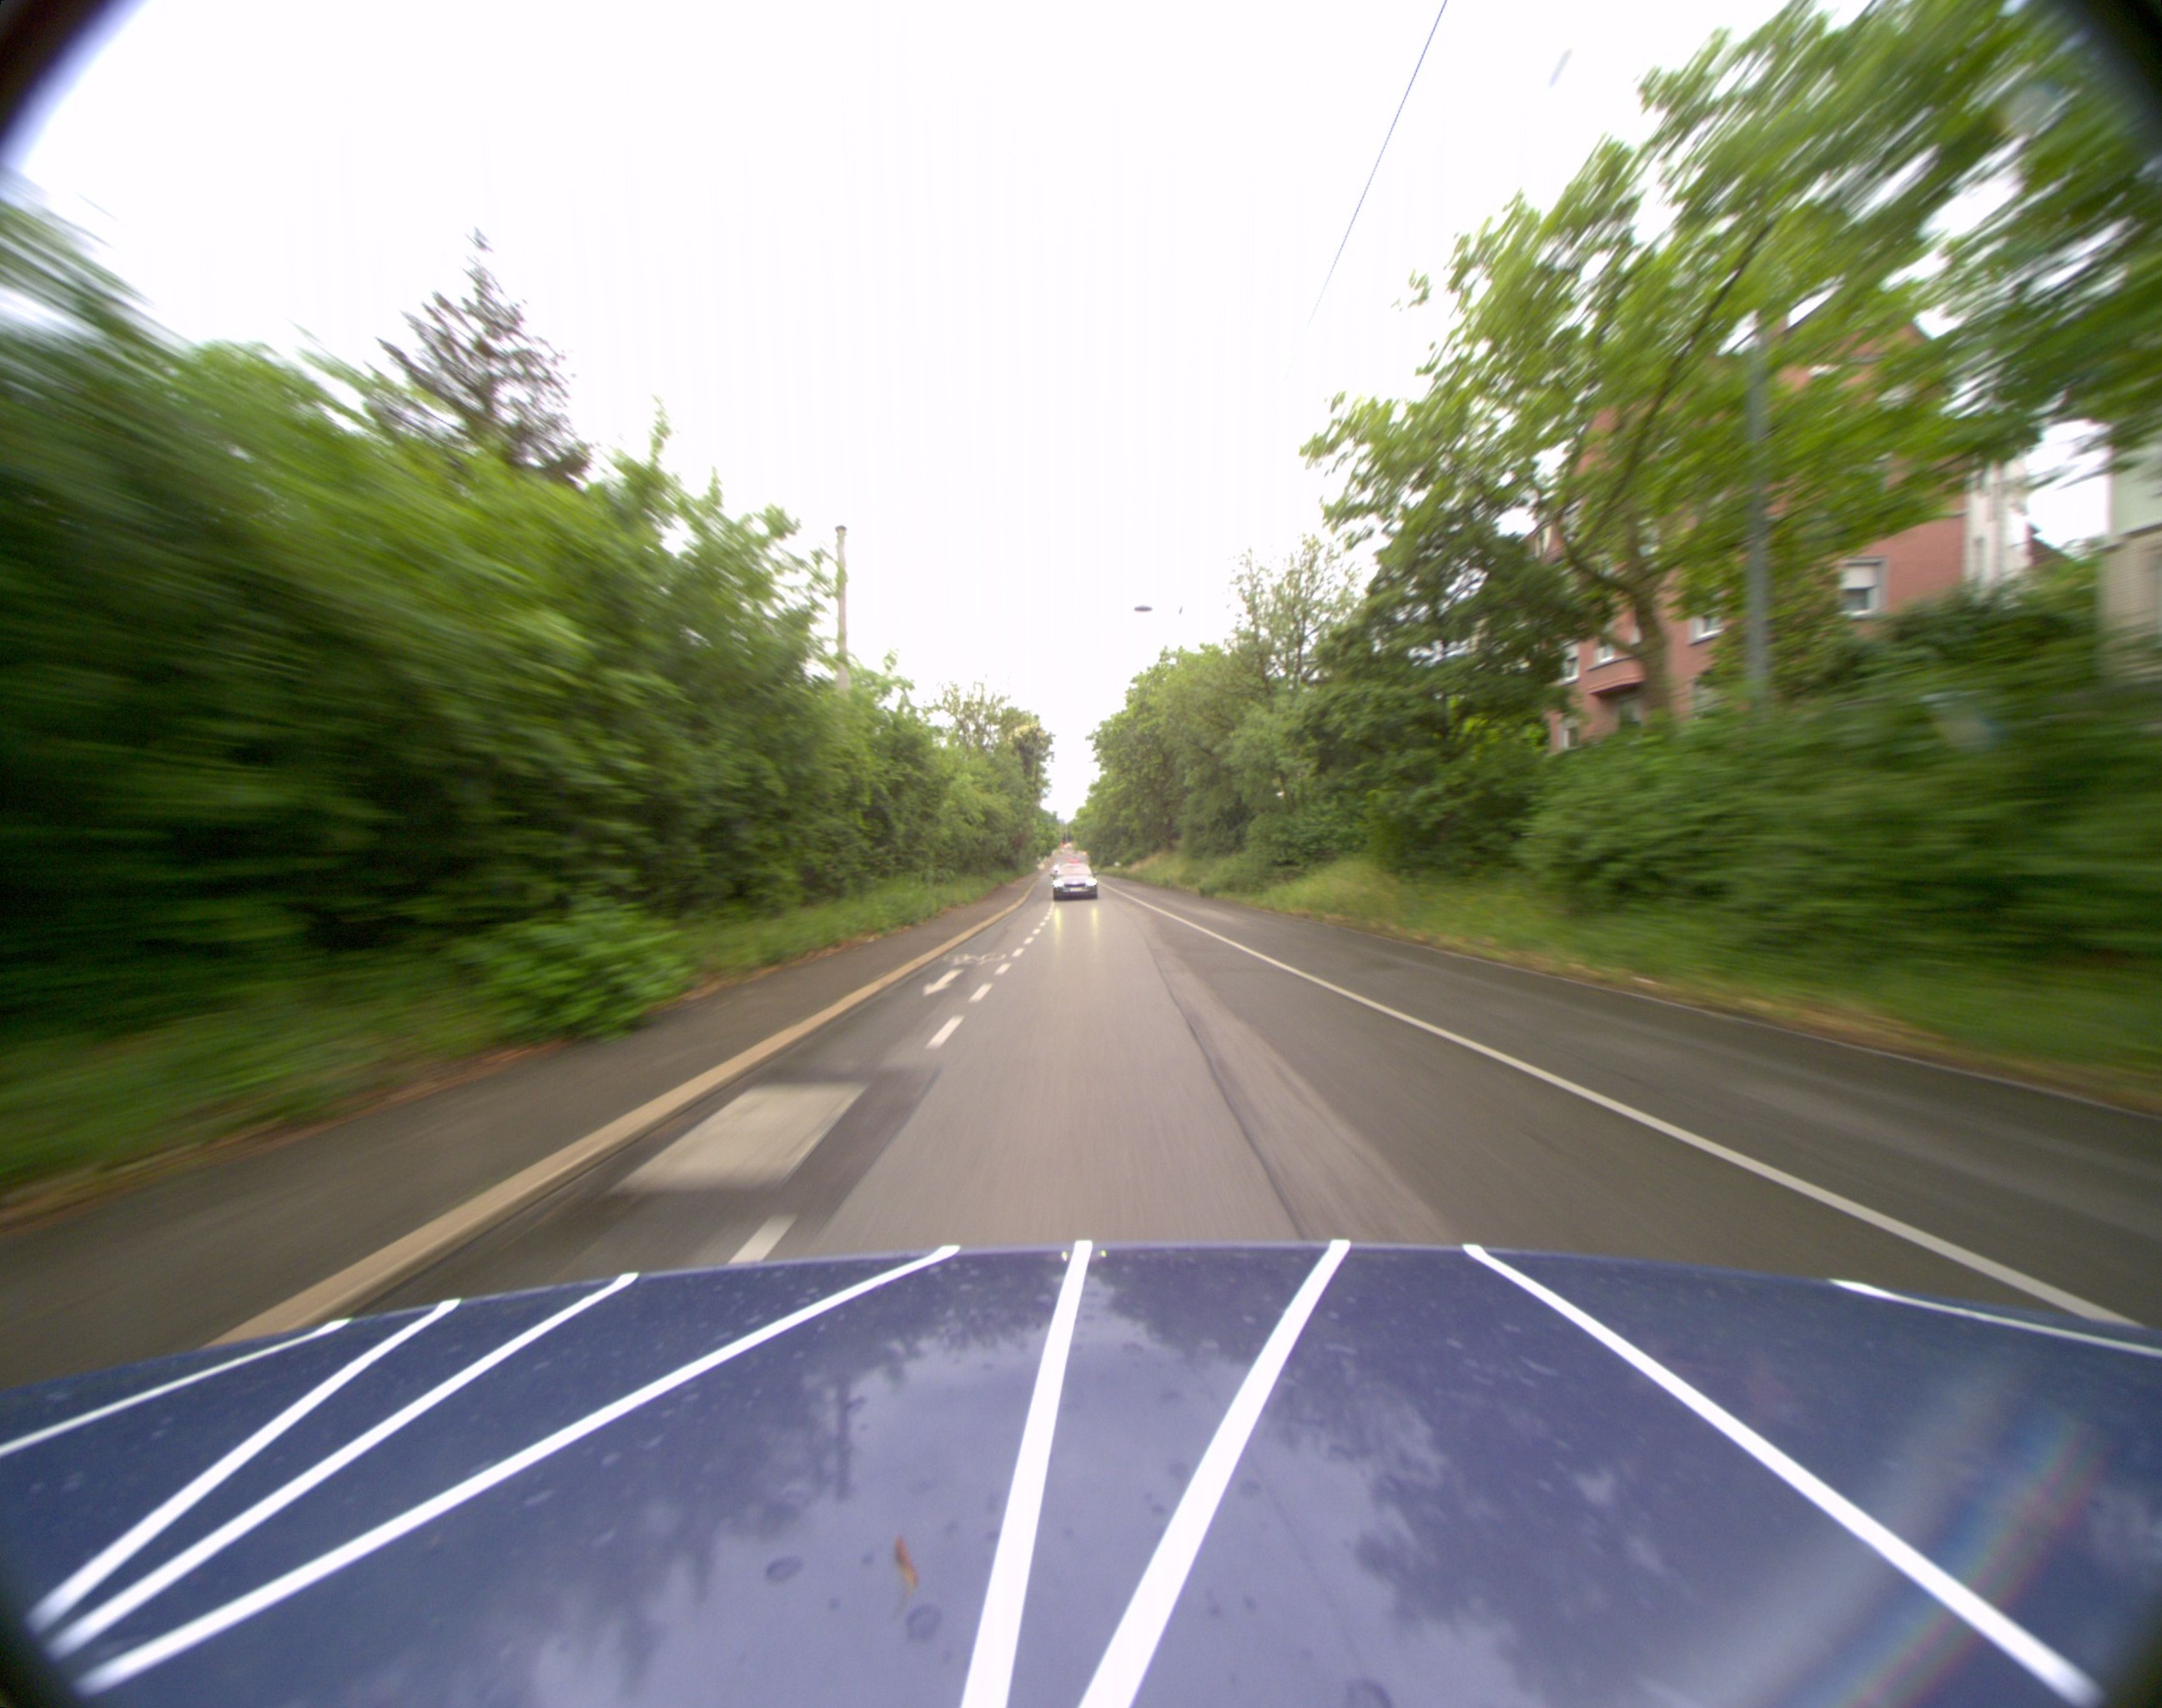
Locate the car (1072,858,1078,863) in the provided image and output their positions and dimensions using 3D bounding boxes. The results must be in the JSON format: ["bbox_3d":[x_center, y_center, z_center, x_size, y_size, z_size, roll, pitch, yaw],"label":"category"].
[{"bbox_3d":[-1.910,2.227,244.288,1.981,1.497,3.999,-3,0,-2],"label":"car"}]

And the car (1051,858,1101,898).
[{"bbox_3d":[-0.280,0.980,32.754,1.981,1.497,3.999,-3,0,-2],"label":"car"}]

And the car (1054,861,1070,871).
[{"bbox_3d":[-3.024,1.882,117.851,2.000,1.433,3.997,-3,0,-8],"label":"car"}]
